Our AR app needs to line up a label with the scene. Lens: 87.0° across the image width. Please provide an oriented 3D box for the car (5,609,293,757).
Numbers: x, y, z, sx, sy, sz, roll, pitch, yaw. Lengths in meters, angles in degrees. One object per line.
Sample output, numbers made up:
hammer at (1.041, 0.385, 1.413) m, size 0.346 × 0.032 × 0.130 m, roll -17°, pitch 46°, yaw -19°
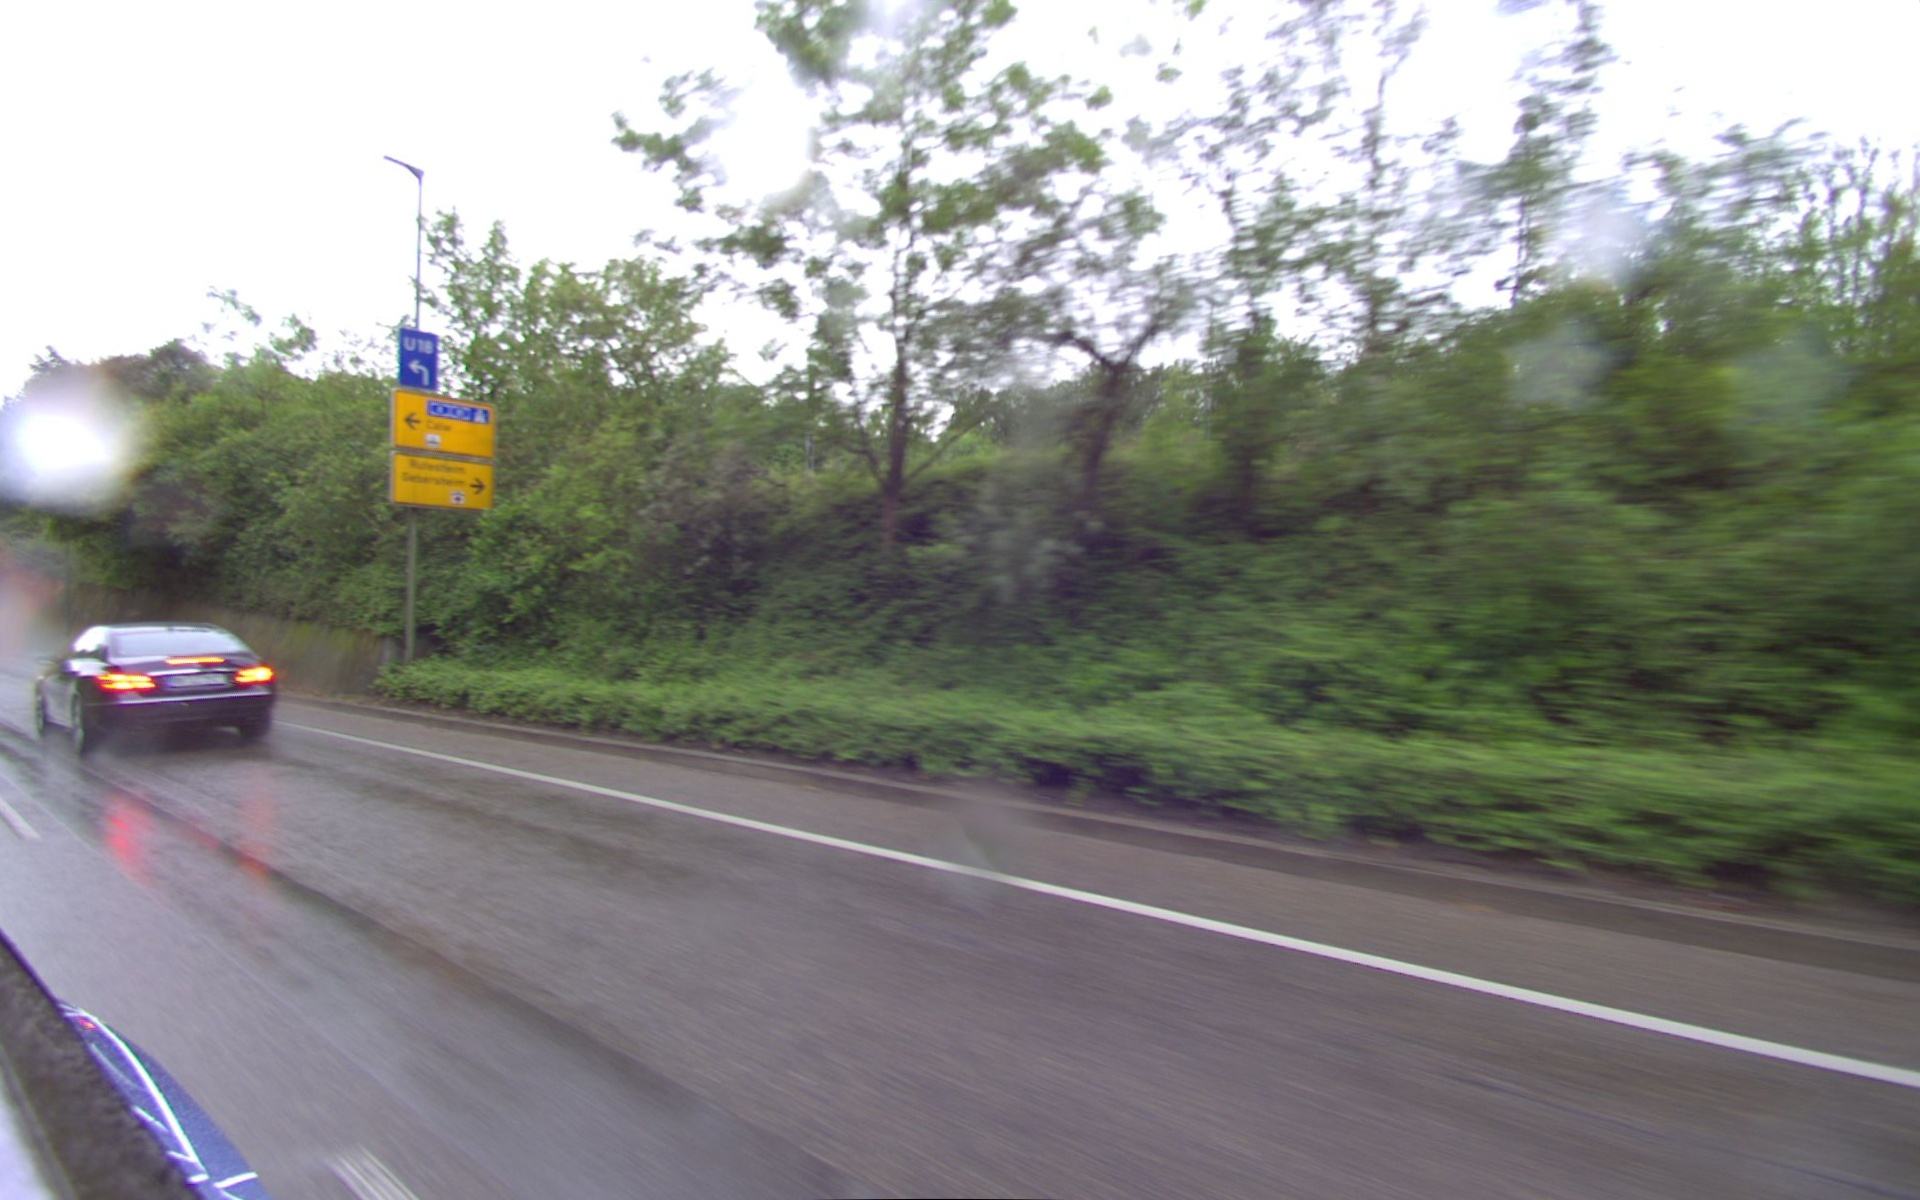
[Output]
car at (-9.810, 0.868, 12.124) m, size 4.373 × 1.460 × 1.846 m, roll -1°, pitch -2°, yaw 40°
